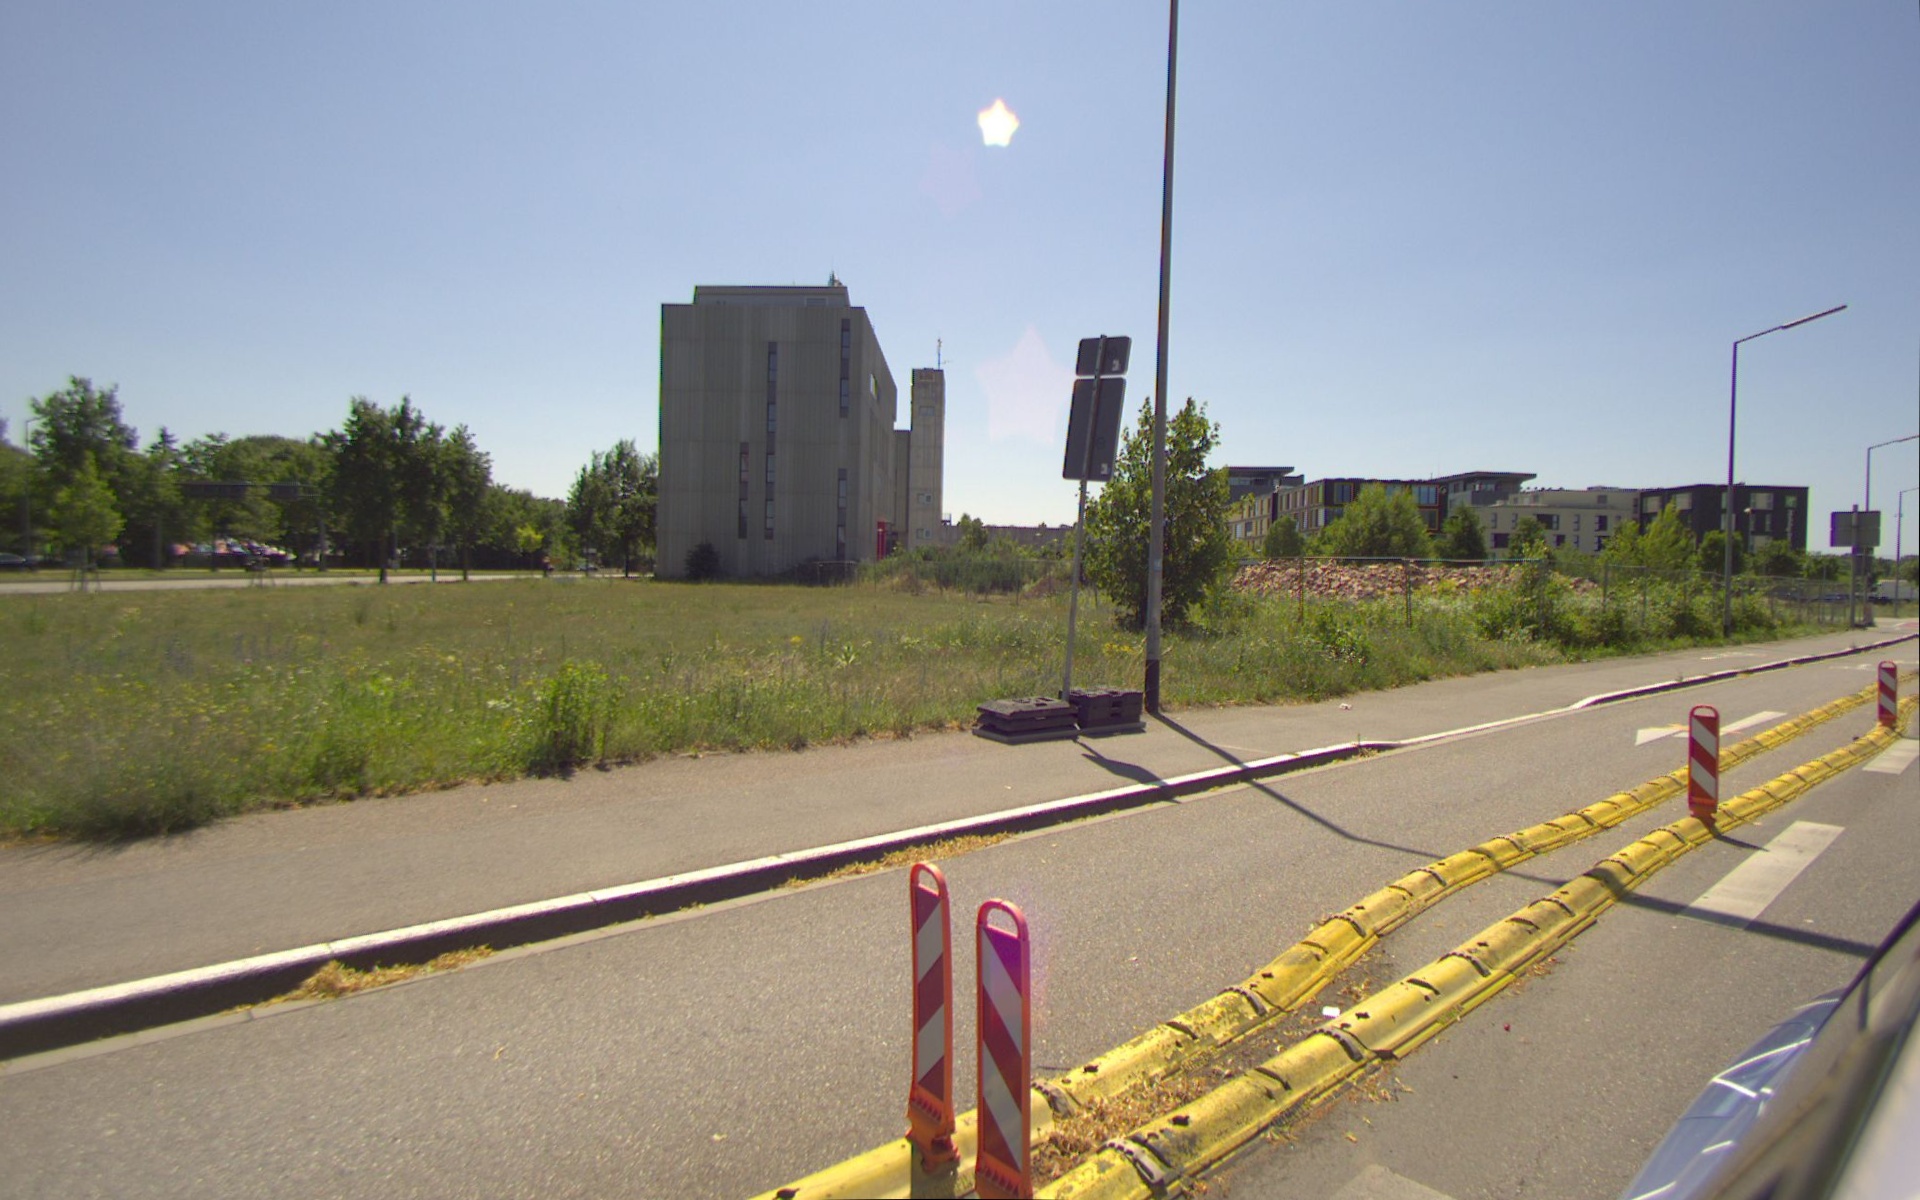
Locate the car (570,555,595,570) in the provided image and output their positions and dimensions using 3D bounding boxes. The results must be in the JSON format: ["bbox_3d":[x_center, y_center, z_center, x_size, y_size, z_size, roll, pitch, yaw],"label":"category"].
[{"bbox_3d":[-51.012,-5.059,136.853,1.962,2.039,4.000,0,1,0],"label":"car"}]

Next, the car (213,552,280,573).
[{"bbox_3d":[-53.229,-2.762,75.607,1.830,1.440,4.407,1,1,1],"label":"car"}]
